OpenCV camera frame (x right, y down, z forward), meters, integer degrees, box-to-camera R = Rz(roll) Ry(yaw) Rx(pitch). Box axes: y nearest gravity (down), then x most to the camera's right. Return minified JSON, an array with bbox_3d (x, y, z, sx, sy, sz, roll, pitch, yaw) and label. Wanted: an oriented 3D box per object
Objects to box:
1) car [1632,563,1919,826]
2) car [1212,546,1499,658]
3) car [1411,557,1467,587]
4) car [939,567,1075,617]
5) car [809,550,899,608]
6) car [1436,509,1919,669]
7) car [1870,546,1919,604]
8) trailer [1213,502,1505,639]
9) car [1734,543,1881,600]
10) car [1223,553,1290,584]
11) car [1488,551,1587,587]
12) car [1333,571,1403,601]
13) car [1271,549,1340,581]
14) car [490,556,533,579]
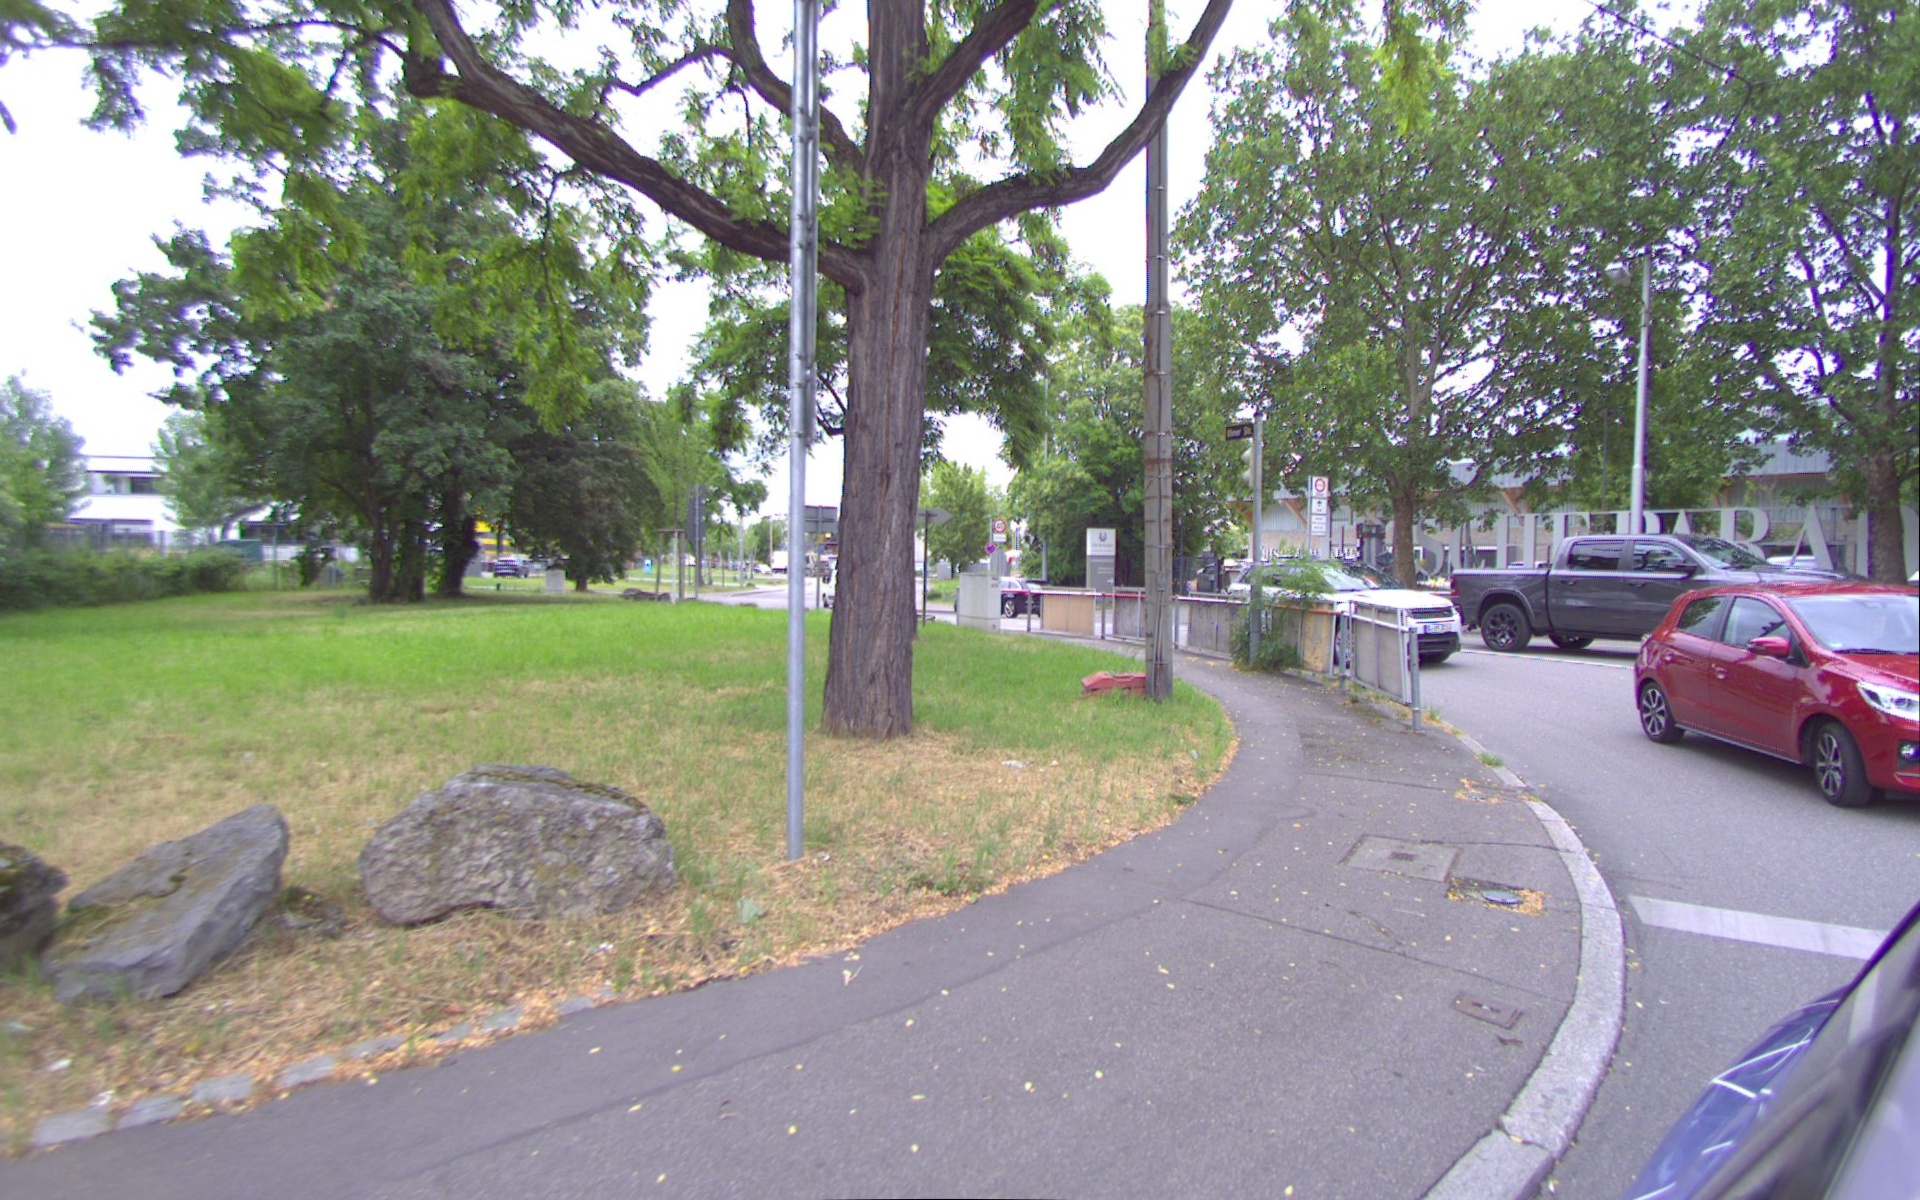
[{"bbox_3d":[6.959,0.515,7.749,1.741,1.549,3.728,-1,2,12],"label":"car"},{"bbox_3d":[6.244,0.074,16.504,1.878,1.590,4.118,-1,-1,-26],"label":"car"},{"bbox_3d":[29.615,-1.718,62.534,3.510,1.705,1.751,-3,0,-40],"label":"car"},{"bbox_3d":[1.582,-0.327,36.398,1.962,1.475,5.221,6,-1,-36],"label":"car"},{"bbox_3d":[-5.269,-0.950,49.404,2.148,2.573,6.492,-3,0,-26],"label":"car"},{"bbox_3d":[10.663,-0.311,15.736,1.912,2.003,5.880,-2,4,-29],"label":"car"},{"bbox_3d":[26.875,-0.763,27.475,4.609,1.475,2.001,-3,0,-32],"label":"car"},{"bbox_3d":[7.874,-0.625,20.650,2.108,2.417,5.395,0,2,-30],"label":"trailer"},{"bbox_3d":[25.358,-0.865,30.238,4.609,1.475,2.001,-3,0,-32],"label":"car"},{"bbox_3d":[17.319,-1.853,58.987,3.931,1.721,1.914,-1,3,-41],"label":"car"},{"bbox_3d":[26.813,-1.470,46.917,5.154,1.449,1.938,-3,0,-35],"label":"car"},{"bbox_3d":[21.913,-0.787,54.321,3.931,1.526,1.914,-1,3,-41],"label":"car"},{"bbox_3d":[19.301,-1.933,56.486,3.931,1.721,1.914,-1,3,-41],"label":"car"},{"bbox_3d":[-31.796,-2.319,71.914,1.887,1.573,4.009,0,3,-10],"label":"car"}]
